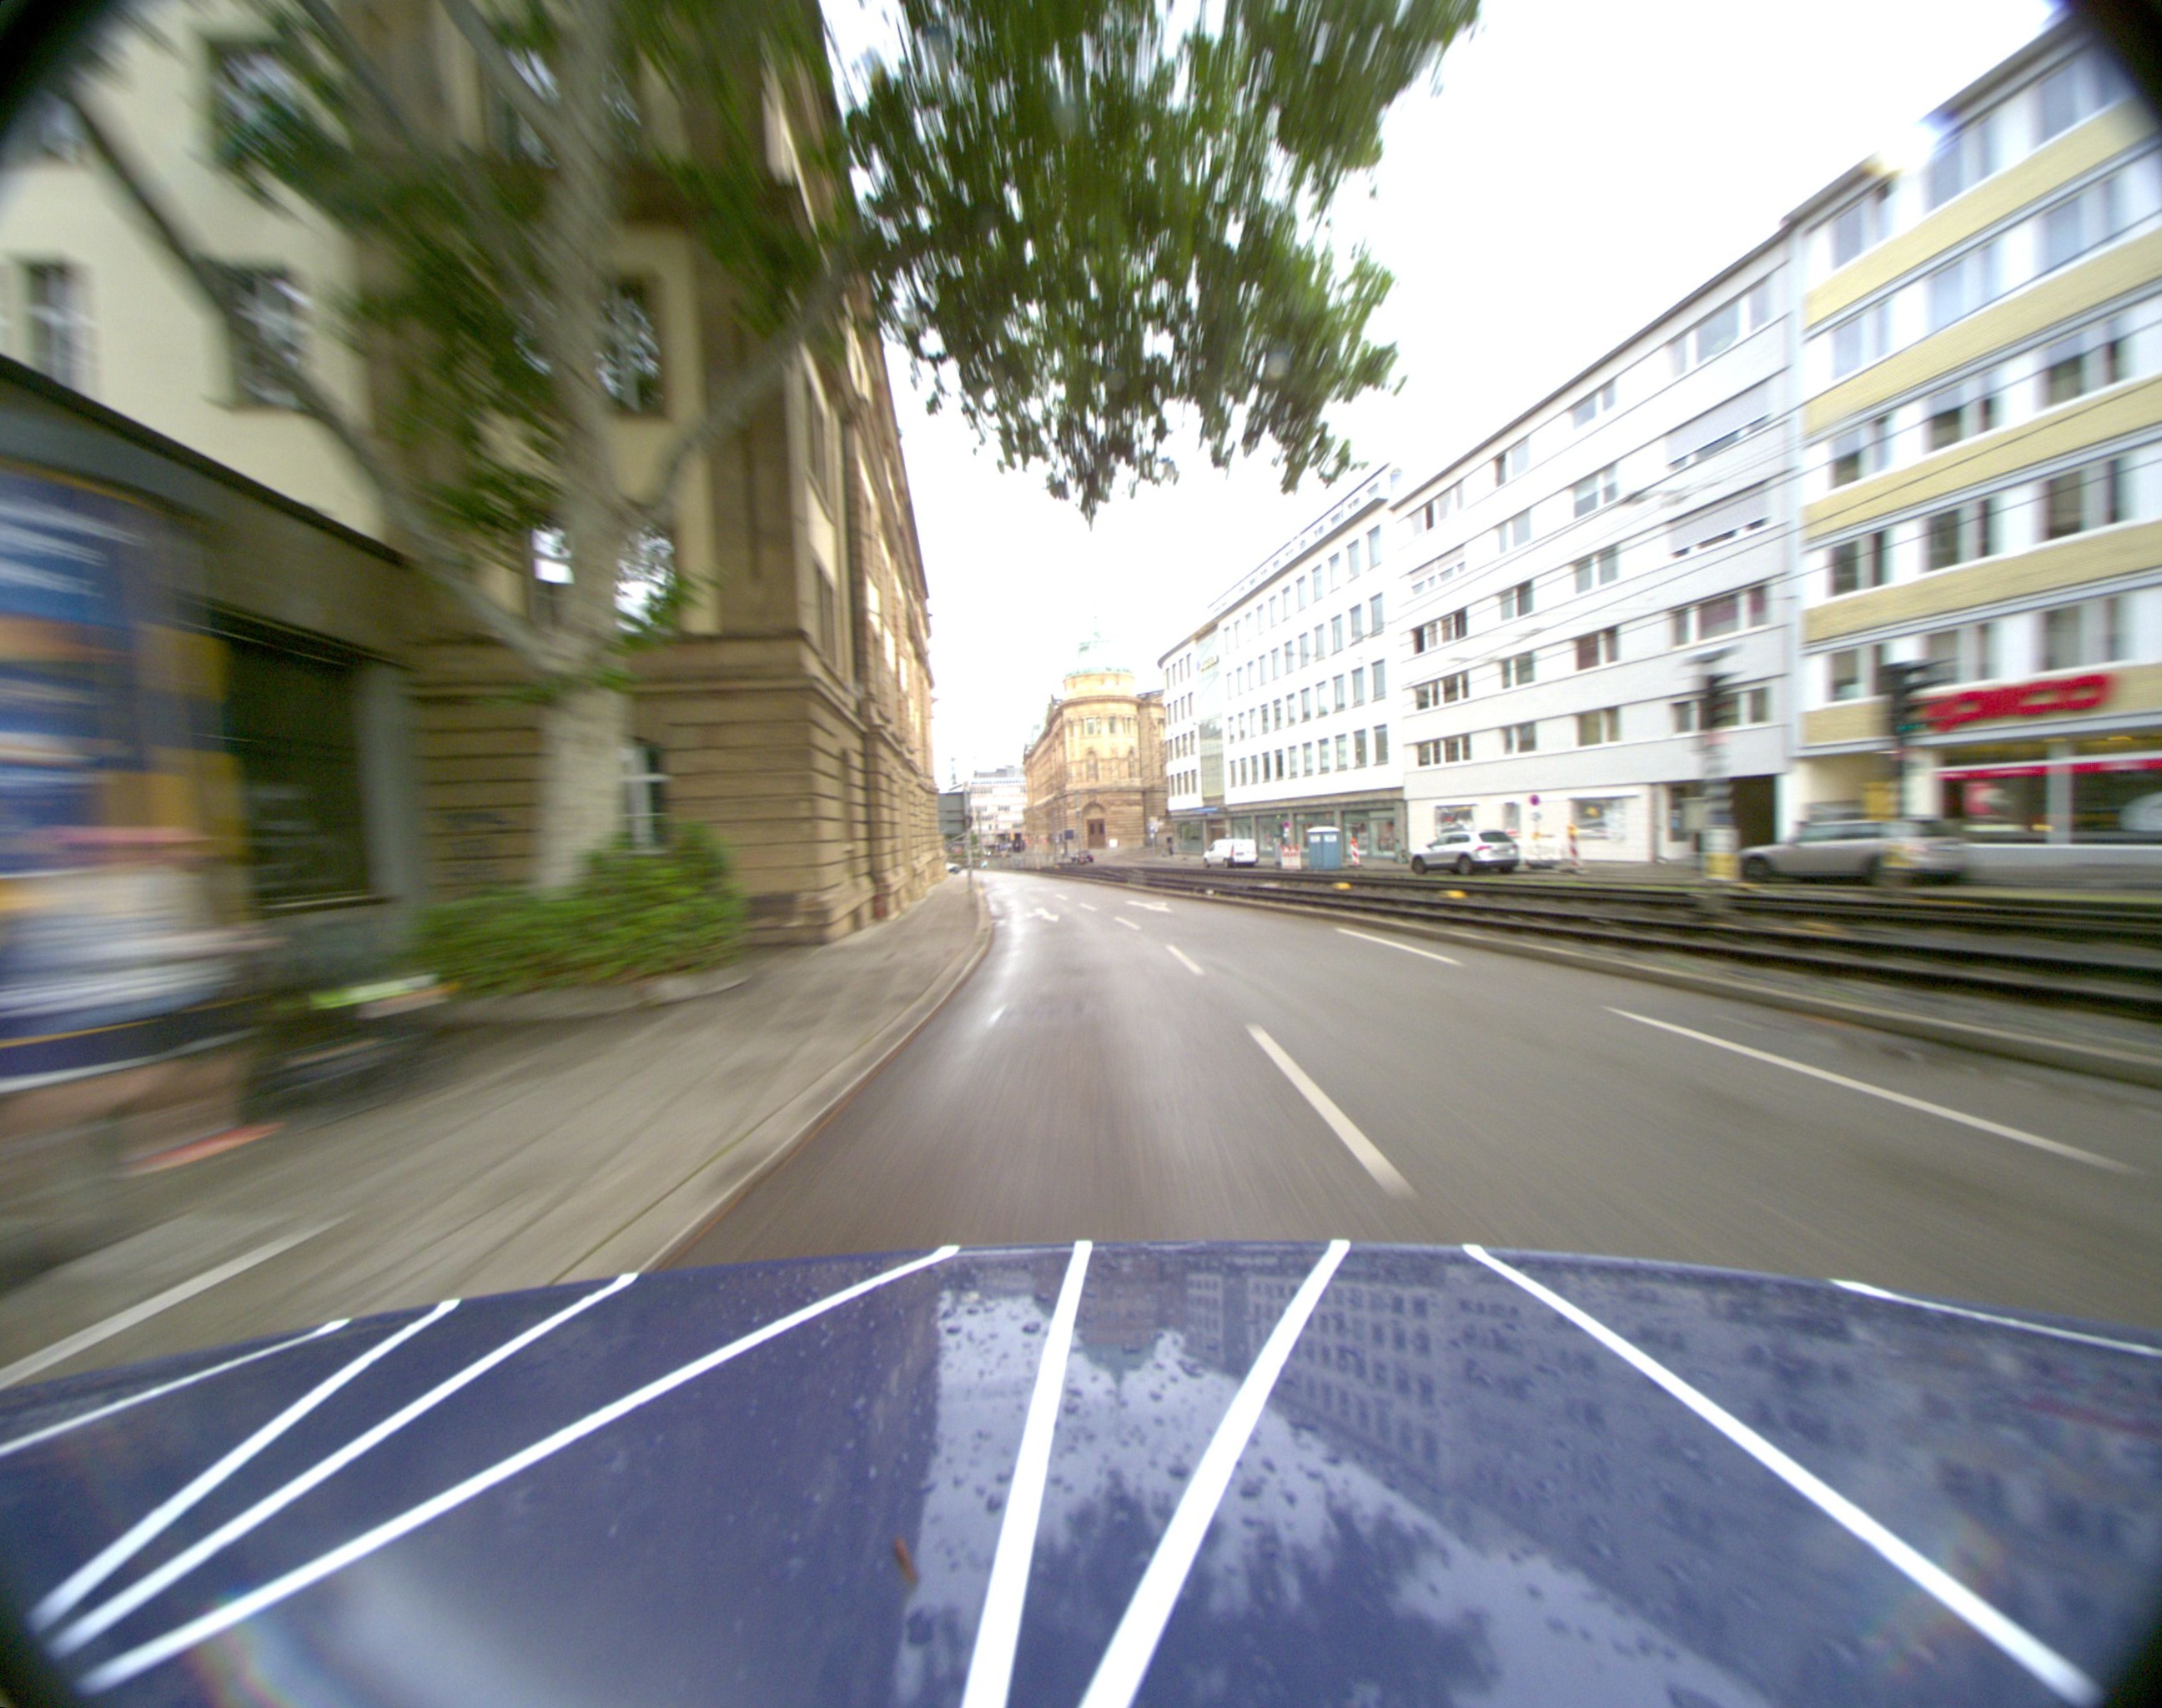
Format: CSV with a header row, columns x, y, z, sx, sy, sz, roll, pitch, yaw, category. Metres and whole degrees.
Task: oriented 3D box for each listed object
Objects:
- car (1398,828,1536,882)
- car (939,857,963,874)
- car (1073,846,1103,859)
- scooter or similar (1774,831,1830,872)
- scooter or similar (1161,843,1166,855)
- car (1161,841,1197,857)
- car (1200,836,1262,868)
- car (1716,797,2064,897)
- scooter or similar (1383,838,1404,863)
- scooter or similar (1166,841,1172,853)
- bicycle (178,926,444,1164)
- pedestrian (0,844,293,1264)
x,y,z,sx,sy,sz,roll,pitch,yaw,category
14.198,0.066,28.313,2.000,1.664,4.691,-6,0,-11,car
-12.526,1.133,73.563,2.000,1.458,4.640,-4,0,-8,car
0.700,-0.216,80.611,2.001,1.248,4.689,-3,1,-13,car
19.440,-0.049,20.497,0.382,1.026,0.973,-5,-1,-12,scooter or similar
8.465,-0.528,78.252,0.410,1.194,1.560,-5,2,5,scooter or similar
10.745,-0.554,83.334,1.780,1.390,4.333,-3,3,39,car
9.900,-0.169,50.528,2.000,1.832,5.124,-5,2,-13,car
16.821,-0.179,16.228,2.000,1.664,4.689,-5,2,-13,car
15.691,-0.196,38.156,0.382,1.196,0.972,-5,2,-12,scooter or similar
9.046,-0.702,78.253,0.410,1.194,1.561,-4,2,11,scooter or similar
-4.614,1.095,4.628,0.620,1.213,0.911,-2,1,6,bicycle
-4.716,0.827,3.660,0.719,1.732,1.019,-1,0,5,pedestrian
